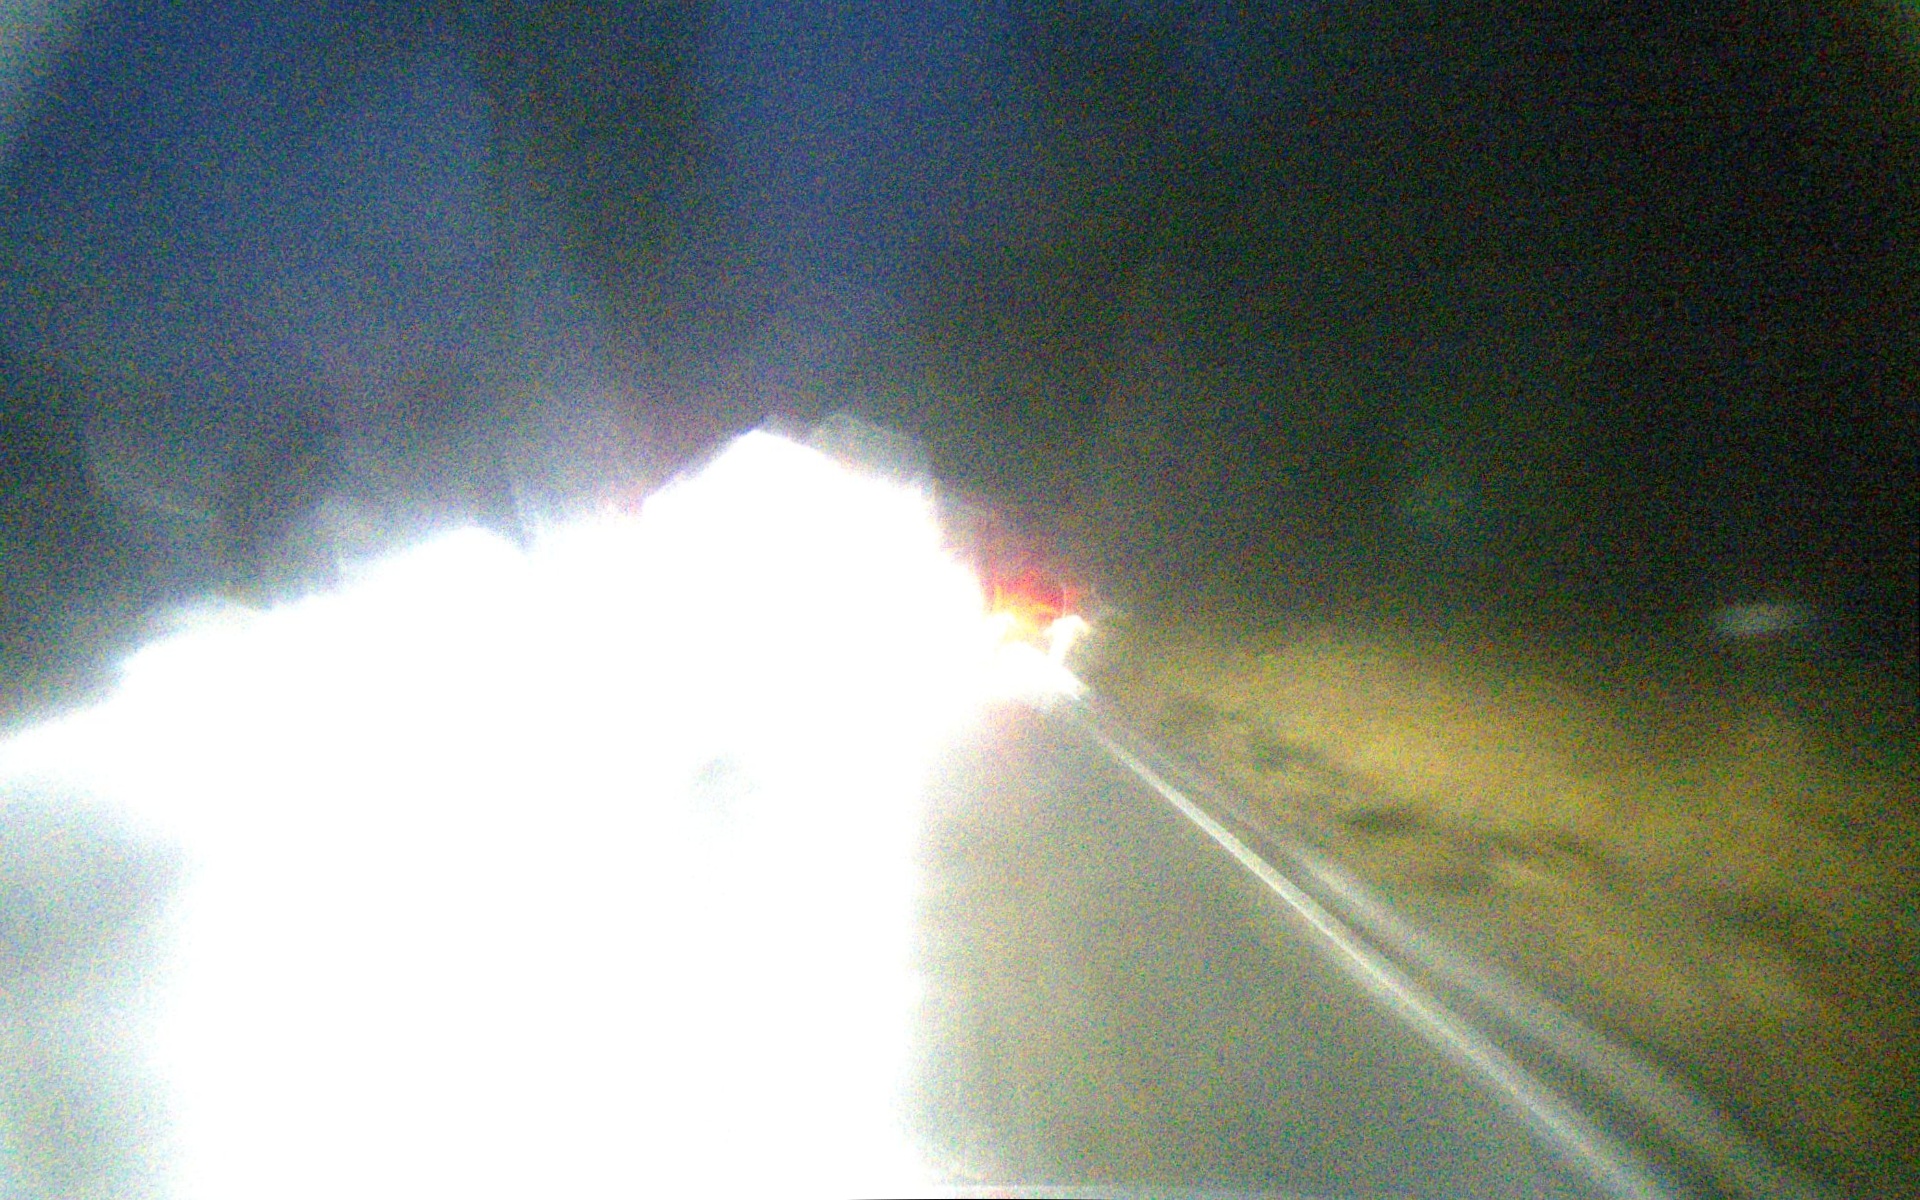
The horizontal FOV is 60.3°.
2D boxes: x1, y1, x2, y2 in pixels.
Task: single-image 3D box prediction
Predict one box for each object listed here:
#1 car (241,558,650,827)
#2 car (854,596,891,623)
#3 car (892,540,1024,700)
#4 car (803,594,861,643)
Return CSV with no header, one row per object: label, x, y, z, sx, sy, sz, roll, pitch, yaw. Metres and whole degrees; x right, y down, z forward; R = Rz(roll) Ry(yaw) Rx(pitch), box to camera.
car,-3.618,0.565,12.473,1.822,1.666,4.142,-1,0,-1
car,-5.243,0.577,99.100,1.880,1.497,4.574,-2,-1,0
car,-0.074,0.253,29.634,2.137,2.601,4.508,1,2,-1
car,-4.275,0.598,55.694,1.736,1.536,3.689,0,1,-1
